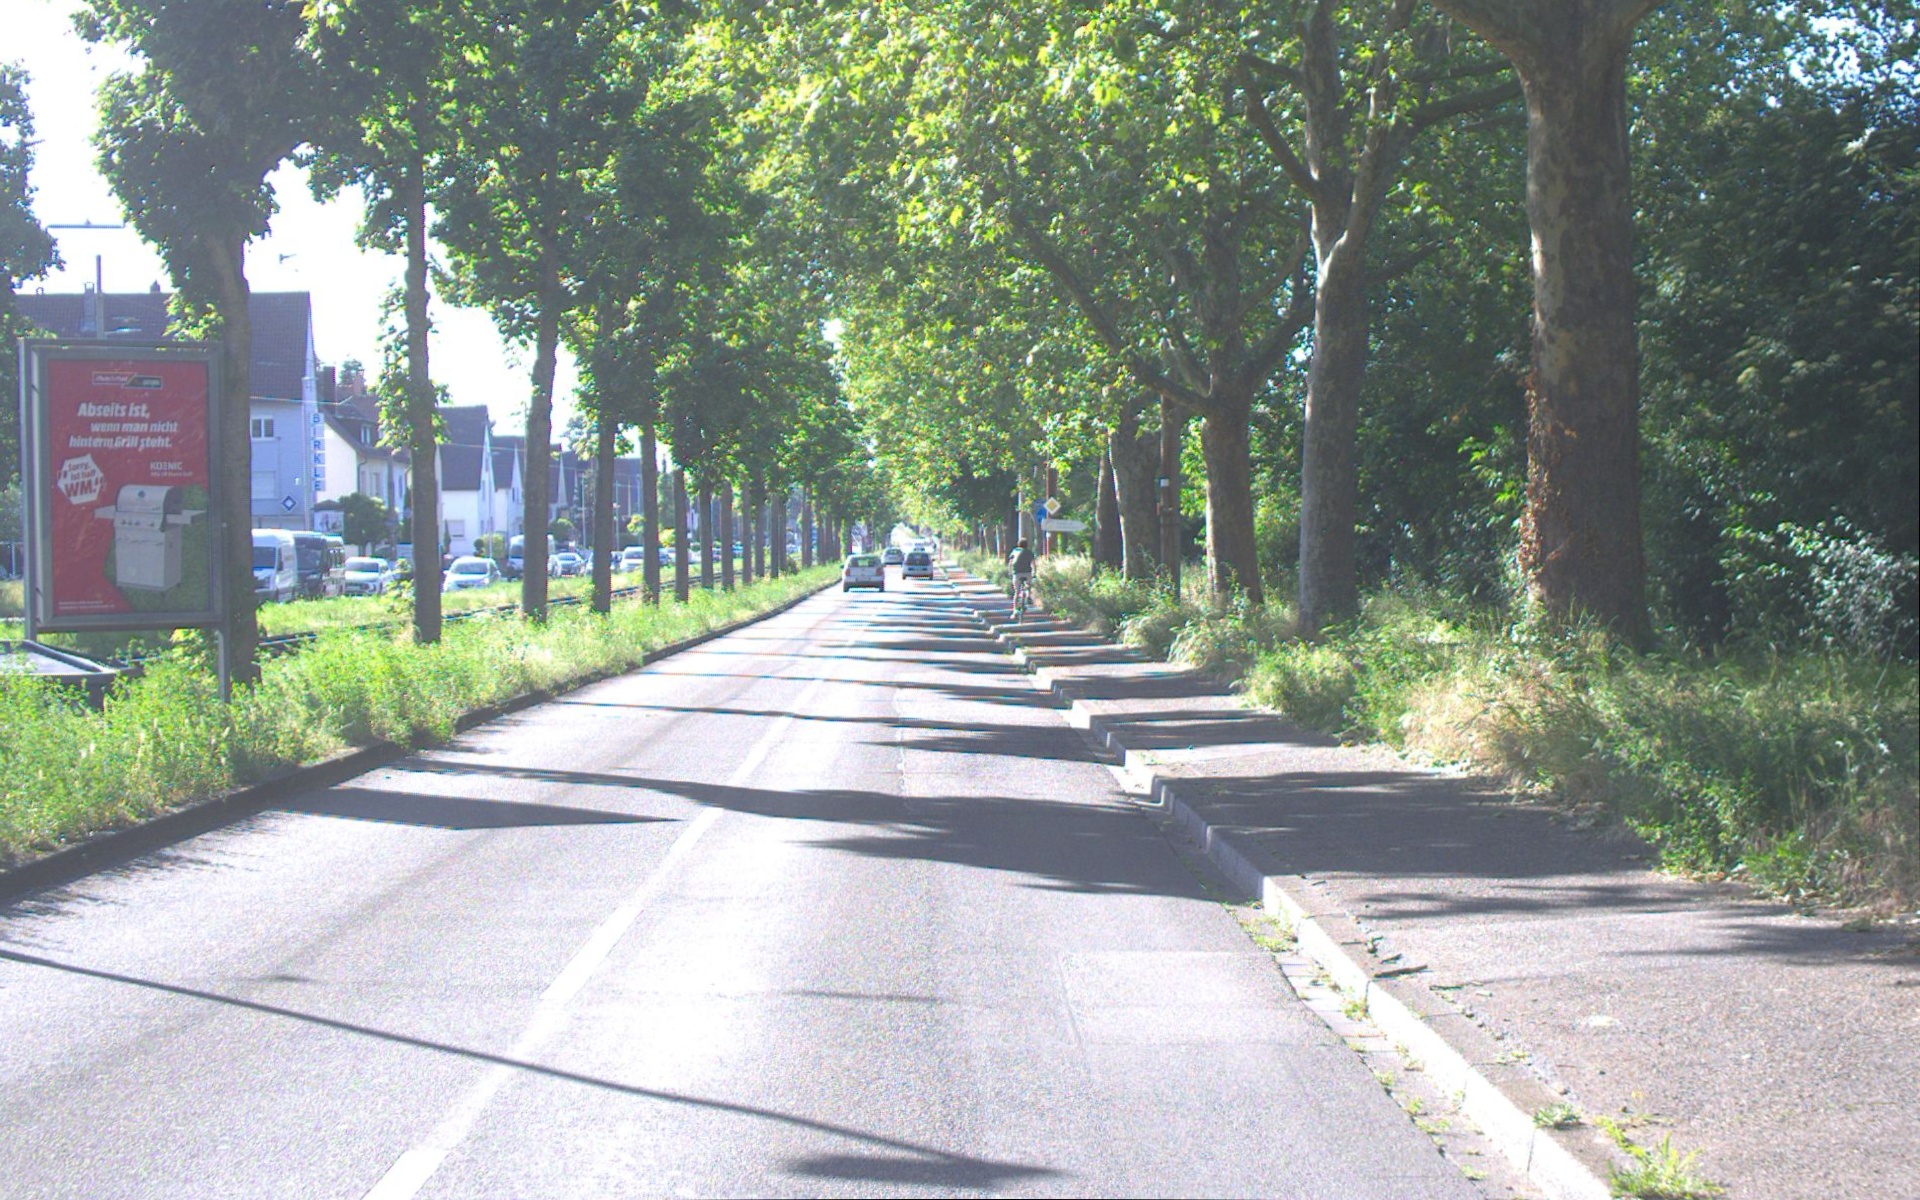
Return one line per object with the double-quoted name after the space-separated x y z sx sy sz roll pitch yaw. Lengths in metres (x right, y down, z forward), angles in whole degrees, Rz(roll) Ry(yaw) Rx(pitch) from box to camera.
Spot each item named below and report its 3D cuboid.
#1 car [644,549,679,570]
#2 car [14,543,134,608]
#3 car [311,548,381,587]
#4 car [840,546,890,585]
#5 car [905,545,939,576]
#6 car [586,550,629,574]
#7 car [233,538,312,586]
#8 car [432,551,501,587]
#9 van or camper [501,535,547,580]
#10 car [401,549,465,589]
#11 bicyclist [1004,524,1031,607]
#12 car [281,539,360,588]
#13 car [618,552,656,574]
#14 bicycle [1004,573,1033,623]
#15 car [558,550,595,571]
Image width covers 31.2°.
-19.045 -2.578 219.415 1.920 1.262 4.000 -1 1 -1 "car"
-22.349 -0.628 86.823 1.921 1.571 4.000 -1 1 1 "car"
-23.628 -1.256 132.455 1.921 1.433 4.000 -1 1 1 "car"
-3.678 -1.354 134.057 1.867 1.481 3.555 0 1 0 "car"
-2.029 -2.112 184.053 1.750 1.599 3.750 0 1 0 "car"
-18.609 -2.012 181.492 1.920 1.262 4.000 -1 1 -1 "car"
-22.188 -1.228 111.082 1.744 1.491 3.592 -1 1 1 "car"
-18.252 -1.164 127.287 1.921 1.262 4.000 -1 1 1 "car"
-24.074 -2.356 189.912 1.993 2.423 4.000 -1 1 1 "van or camper"
-22.504 -1.322 146.922 1.993 1.637 4.000 -1 1 2 "car"
1.235 -0.740 73.847 0.534 1.763 0.713 -1 1 -2 "bicyclist"
-22.004 -1.277 118.384 1.921 1.622 4.000 -1 1 1 "car"
-18.937 -2.168 201.784 1.920 1.262 4.000 -1 1 -1 "car"
1.254 -0.048 73.754 0.536 1.062 1.434 -1 1 -2 "bicycle"
-23.663 -2.458 212.338 1.920 1.262 4.000 -1 1 -1 "car"
